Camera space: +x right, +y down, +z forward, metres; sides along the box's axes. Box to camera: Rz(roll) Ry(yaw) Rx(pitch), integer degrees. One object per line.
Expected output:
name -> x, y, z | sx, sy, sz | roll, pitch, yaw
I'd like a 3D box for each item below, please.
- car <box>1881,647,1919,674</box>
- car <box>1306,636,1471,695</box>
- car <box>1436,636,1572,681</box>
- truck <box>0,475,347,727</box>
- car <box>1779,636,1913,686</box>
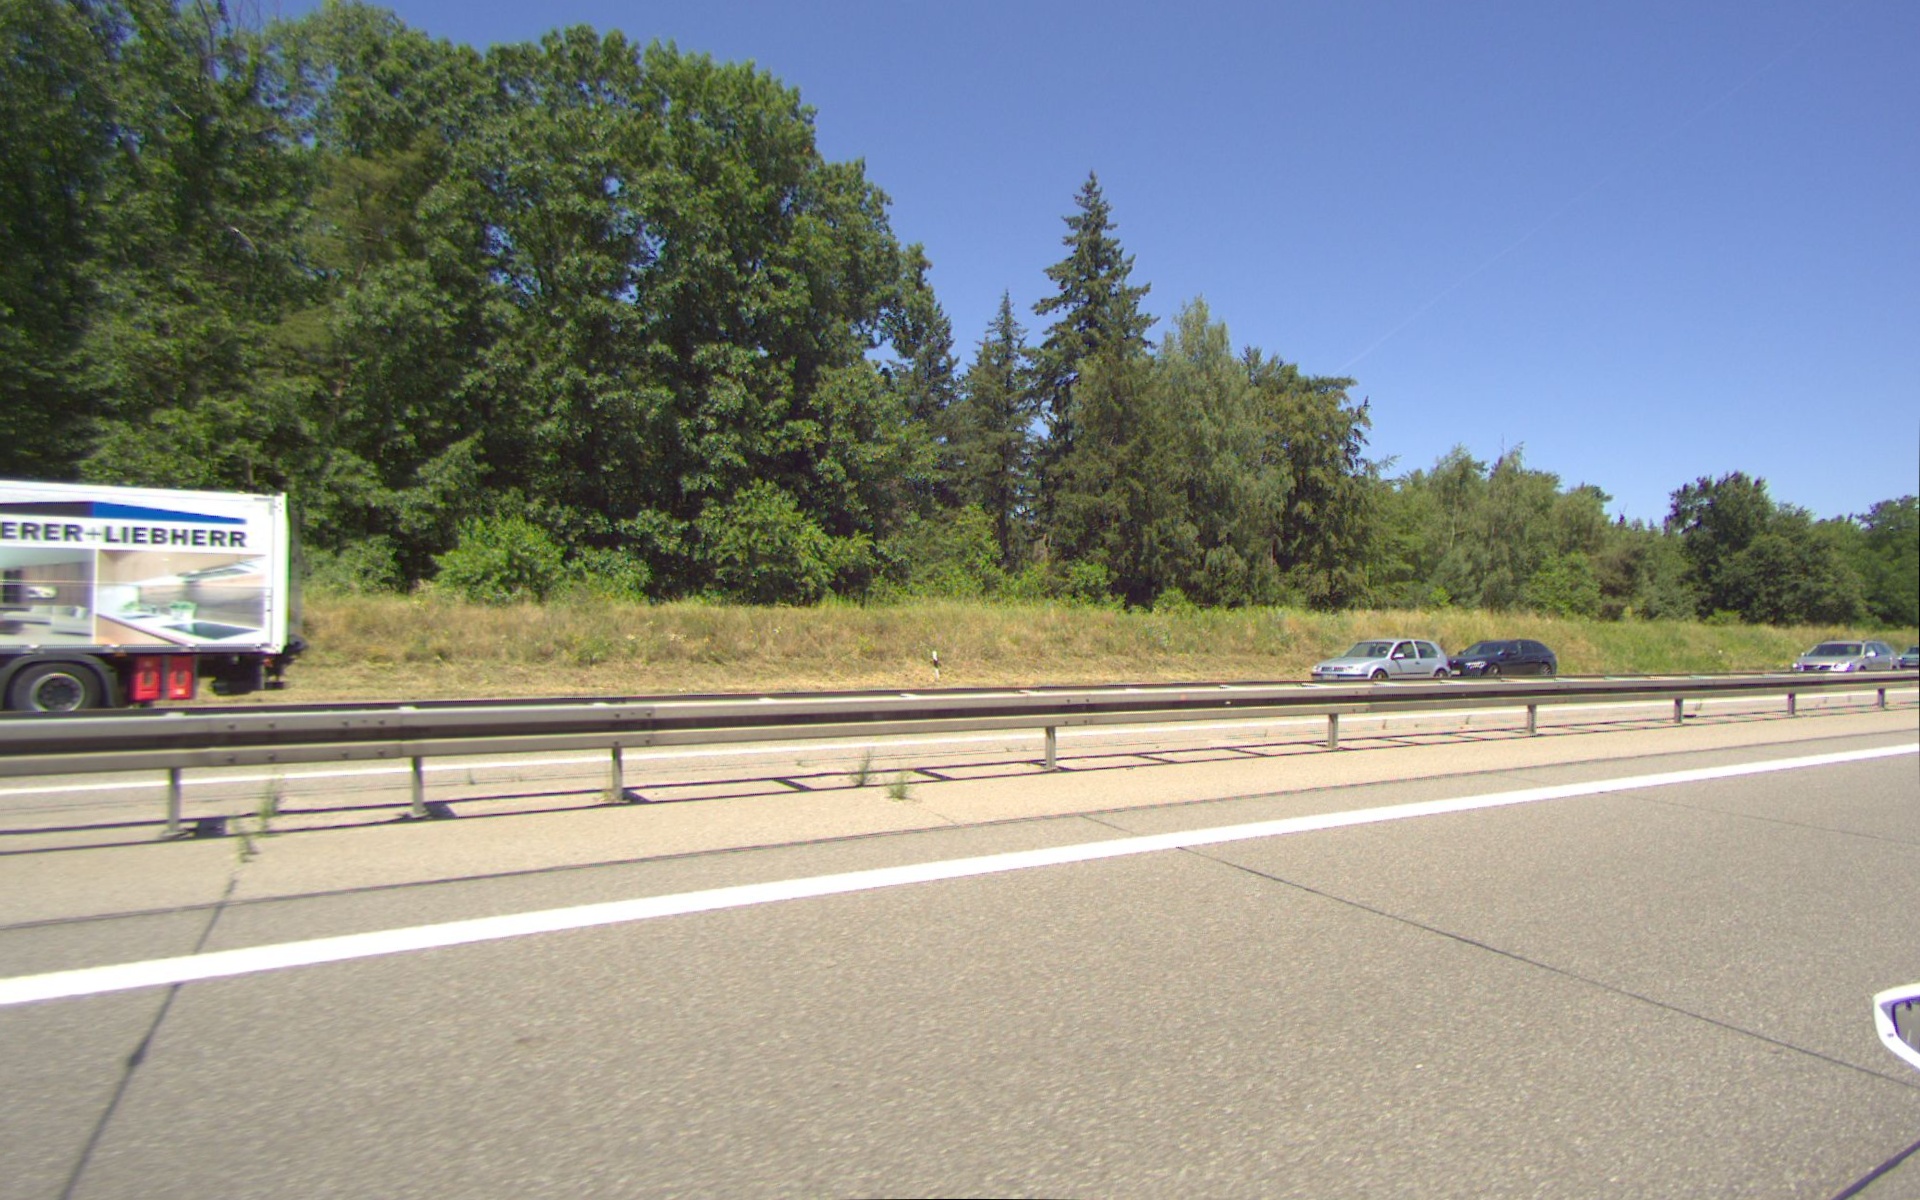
car -> 52.425, 3.321, 55.036 | 4.545, 1.428, 1.663 | 2, -4, -31
car -> 11.204, 1.680, 26.204 | 4.303, 1.426, 1.753 | 2, -4, -31
car -> 18.512, 1.980, 34.090 | 5.116, 1.429, 1.647 | 2, -4, -30
truck -> -15.186, 0.064, 14.814 | 10.319, 3.564, 2.720 | 2, -4, -30
car -> 28.340, 1.928, 32.084 | 5.063, 1.478, 1.753 | 2, -4, -31
